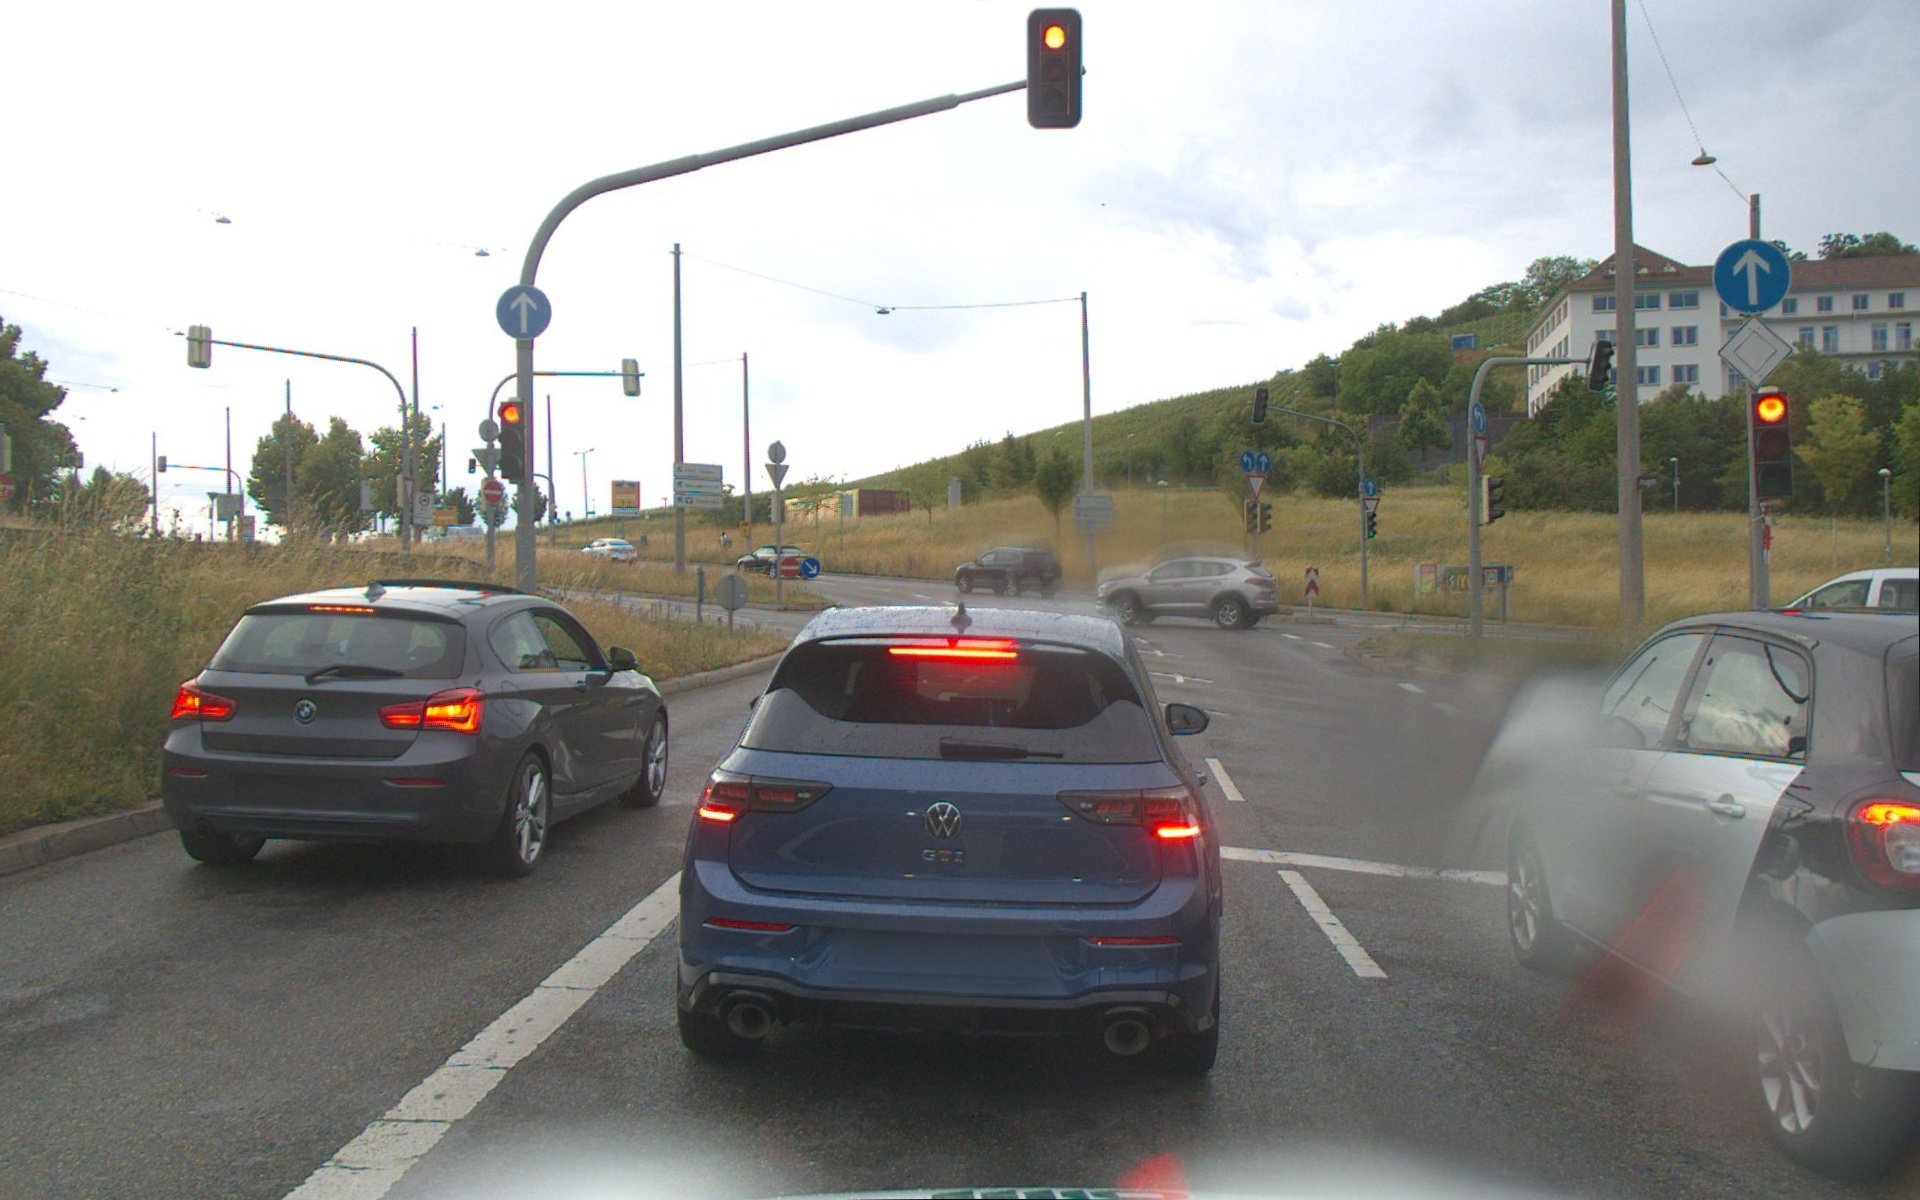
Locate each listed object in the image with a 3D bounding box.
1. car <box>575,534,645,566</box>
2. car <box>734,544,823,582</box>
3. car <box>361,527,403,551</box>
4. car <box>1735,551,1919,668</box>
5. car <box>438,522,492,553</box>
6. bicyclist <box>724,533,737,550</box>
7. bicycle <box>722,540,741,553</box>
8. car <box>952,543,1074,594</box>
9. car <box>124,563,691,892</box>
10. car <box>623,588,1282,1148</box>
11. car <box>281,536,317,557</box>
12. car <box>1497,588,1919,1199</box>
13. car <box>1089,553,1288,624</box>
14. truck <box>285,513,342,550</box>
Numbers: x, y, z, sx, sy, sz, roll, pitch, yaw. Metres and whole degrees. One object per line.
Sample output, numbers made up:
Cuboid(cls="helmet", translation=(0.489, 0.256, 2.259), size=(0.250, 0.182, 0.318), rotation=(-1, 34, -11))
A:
Cuboid(cls="car", translation=(-18.561, -2.618, 87.571), size=(1.979, 1.503, 4.362), rotation=(1, -1, -37))
Cuboid(cls="car", translation=(-7.972, -1.588, 72.414), size=(1.978, 1.503, 4.446), rotation=(1, -1, -36))
Cuboid(cls="car", translation=(-45.746, -4.776, 130.840), size=(1.978, 1.688, 4.487), rotation=(1, -1, -36))
Cuboid(cls="car", translation=(15.626, 0.167, 27.517), size=(1.808, 1.882, 4.621), rotation=(2, -1, -44))
Cuboid(cls="car", translation=(-33.230, -4.175, 110.929), size=(2.111, 1.826, 4.683), rotation=(1, -1, -35))
Cuboid(cls="bicyclist", translation=(-14.453, -3.683, 104.144), size=(0.518, 1.065, 0.574), rotation=(4, 0, -33))
Cuboid(cls="bicycle", translation=(-14.397, -3.351, 104.047), size=(0.513, 0.788, 1.602), rotation=(3, 0, -33))
Cuboid(cls="car", translation=(1.823, -1.075, 57.981), size=(1.979, 1.665, 4.362), rotation=(1, -1, -37))
Cuboid(cls="car", translation=(-2.870, 0.600, 9.629), size=(1.667, 1.485, 4.116), rotation=(0, -1, 4))
Cuboid(cls="car", translation=(0.118, 0.714, 6.407), size=(1.786, 1.486, 3.810), rotation=(1, 0, 4))
Cuboid(cls="car", translation=(-57.437, -4.626, 143.685), size=(1.978, 1.688, 4.298), rotation=(1, -1, -36))
Cuboid(cls="car", translation=(3.182, 0.765, 5.809), size=(1.623, 1.529, 3.452), rotation=(1, -1, 3))
Cuboid(cls="car", translation=(5.564, -0.268, 40.284), size=(4.421, 1.649, 1.998), rotation=(1, -1, 26))
Cuboid(cls="truck", translation=(-59.715, -6.319, 152.728), size=(3.234, 3.128, 6.096), rotation=(4, 0, -37))
